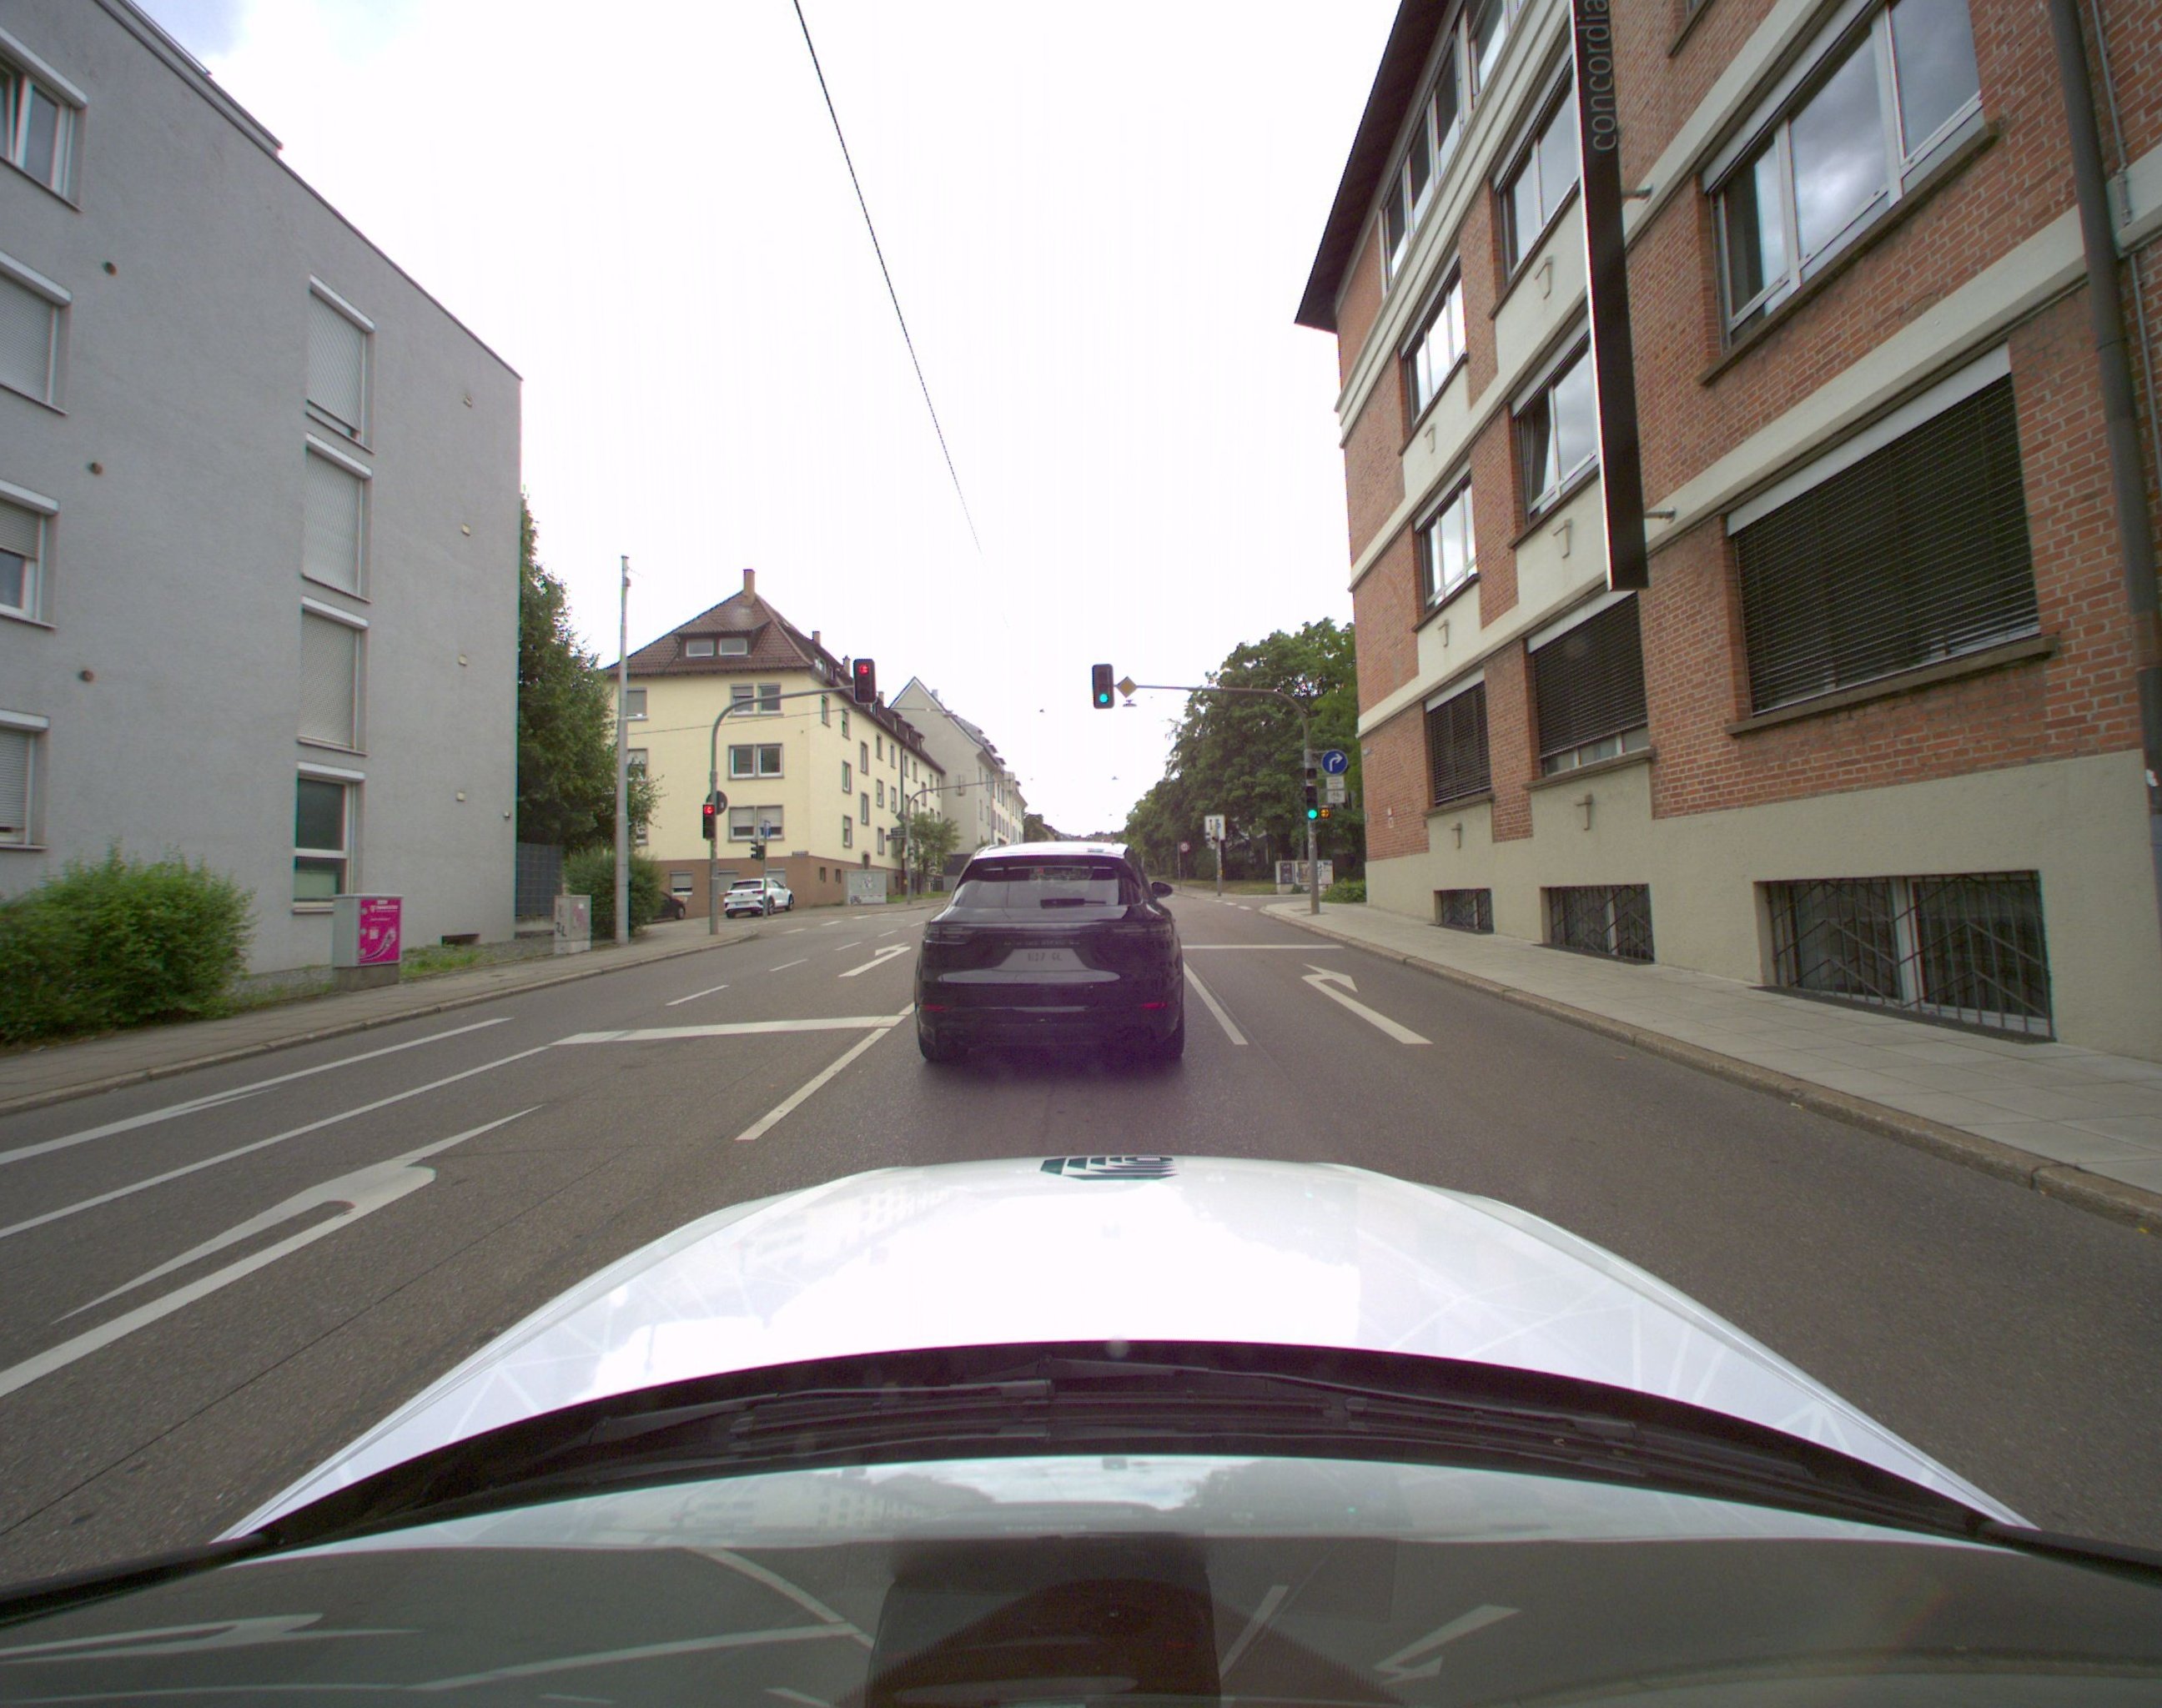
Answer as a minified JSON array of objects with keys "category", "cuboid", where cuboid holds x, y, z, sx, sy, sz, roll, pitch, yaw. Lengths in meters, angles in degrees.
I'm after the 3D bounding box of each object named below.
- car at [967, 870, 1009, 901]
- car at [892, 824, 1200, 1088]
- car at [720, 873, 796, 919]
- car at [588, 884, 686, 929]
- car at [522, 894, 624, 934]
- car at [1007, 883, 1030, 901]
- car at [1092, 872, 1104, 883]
[{"category":"car","cuboid":[-5.174,1.748,45.784,1.657,1.519,3.742,-5,-1,2]},{"category":"car","cuboid":[-0.166,0.677,7.284,1.986,1.697,4.001,0,-1,2]},{"category":"car","cuboid":[-13.552,1.710,34.453,1.666,1.662,3.996,-4,0,-3]},{"category":"car","cuboid":[-18.593,2.172,34.335,1.664,1.546,4.103,-5,-1,2]},{"category":"car","cuboid":[-21.178,2.460,34.157,1.663,1.362,4.001,-1,-1,2]},{"category":"car","cuboid":[-5.325,3.210,69.843,1.665,1.362,3.998,-1,-1,-1]},{"category":"car","cuboid":[2.494,3.479,121.751,1.683,1.552,3.888,0,-1,0]}]
